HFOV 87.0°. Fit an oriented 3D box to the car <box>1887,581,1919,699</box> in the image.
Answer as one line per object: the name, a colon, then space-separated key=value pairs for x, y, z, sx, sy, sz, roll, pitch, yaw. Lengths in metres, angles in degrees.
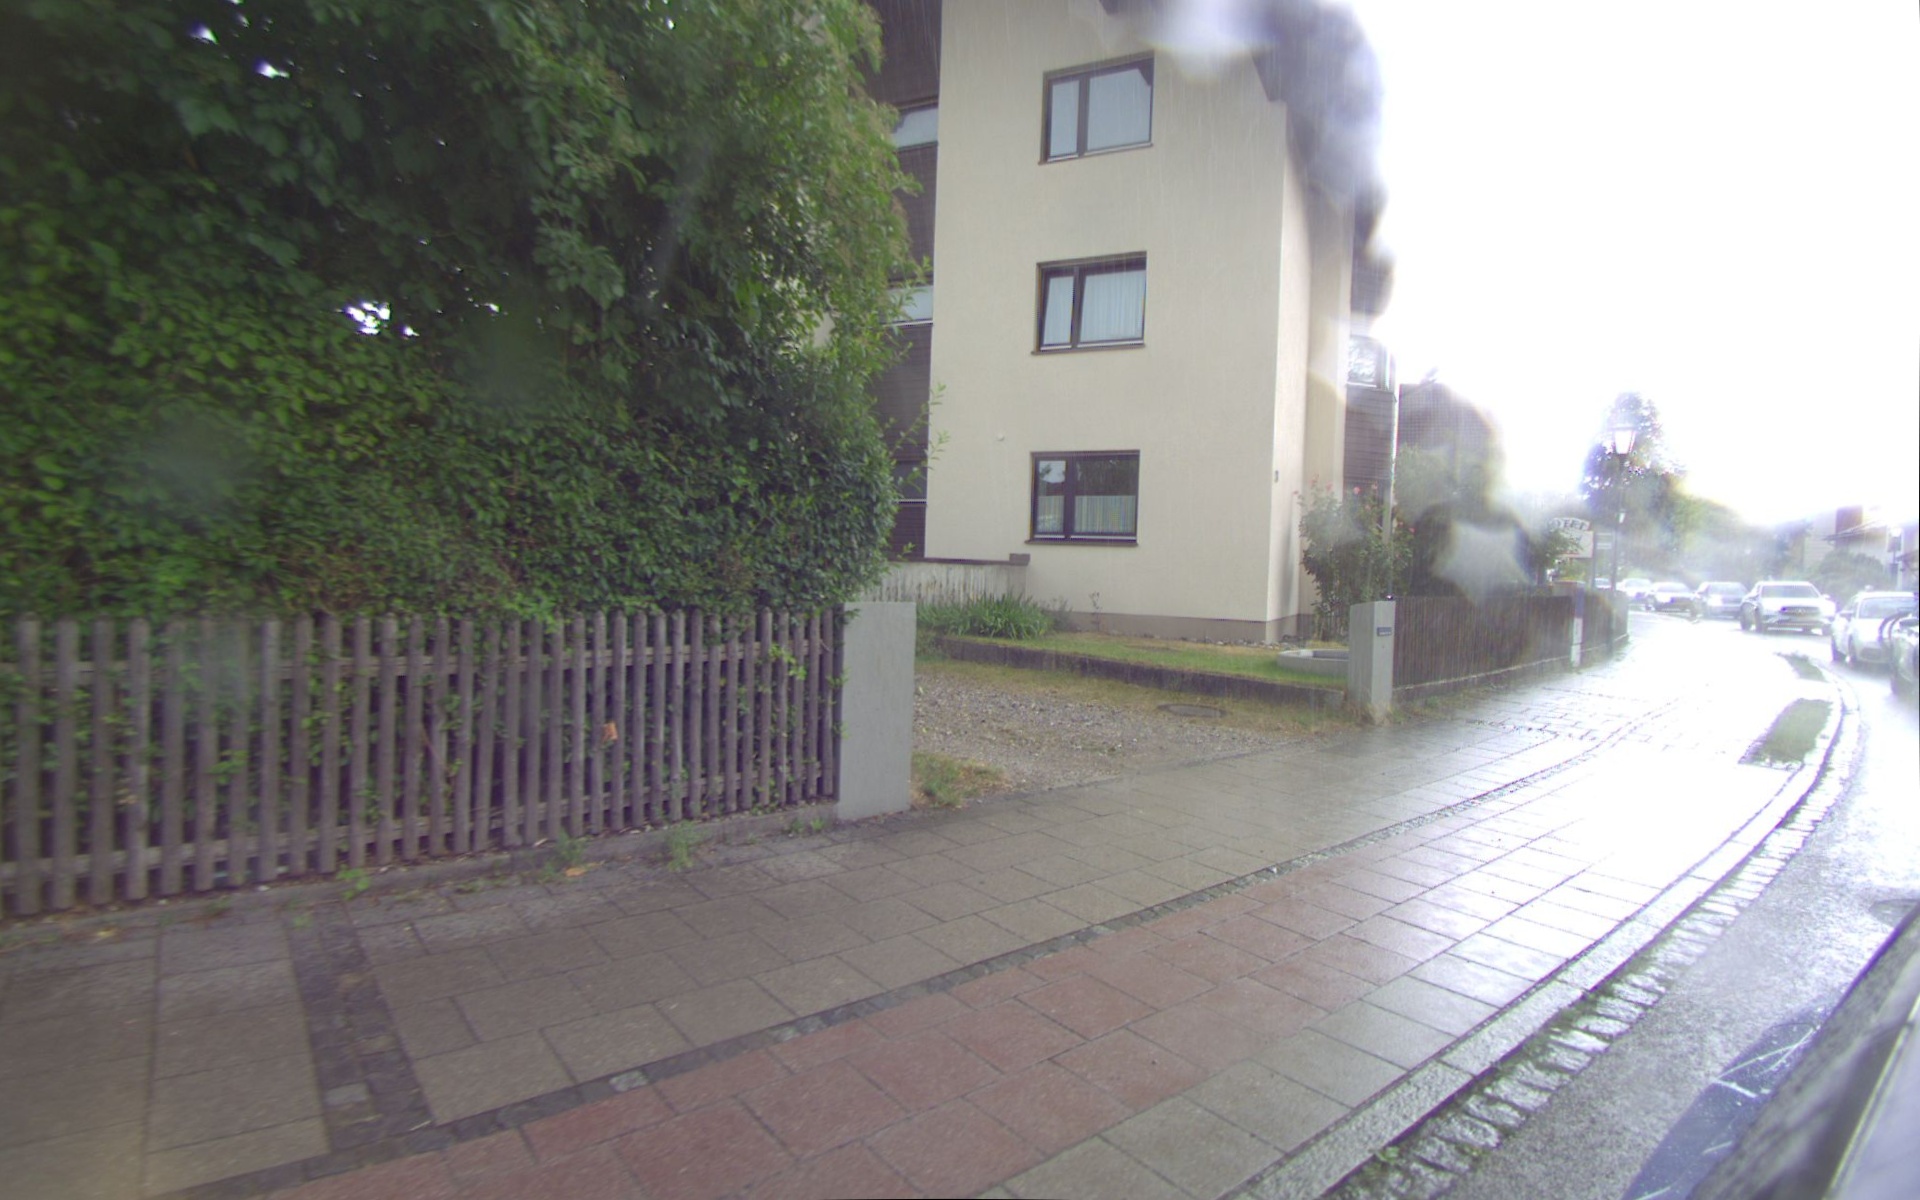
car: x=14.015 y=0.490 z=13.707 sx=1.786 sy=1.498 sz=5.310 roll=0 pitch=1 yaw=39

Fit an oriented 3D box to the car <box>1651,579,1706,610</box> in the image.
car: x=37.856 y=-0.303 z=53.402 sx=1.778 sy=1.568 sz=4.240 roll=0 pitch=0 yaw=27

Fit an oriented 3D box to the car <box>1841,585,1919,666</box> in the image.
car: x=18.164 y=0.432 z=19.359 sx=1.786 sy=1.412 sz=4.221 roll=0 pitch=1 yaw=39

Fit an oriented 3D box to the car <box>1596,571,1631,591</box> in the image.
car: x=53.618 y=-1.547 z=83.076 sx=1.775 sy=1.568 sz=4.246 roll=0 pitch=0 yaw=24

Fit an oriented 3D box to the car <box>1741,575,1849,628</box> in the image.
car: x=26.493 y=0.008 z=32.271 sx=1.778 sy=1.568 sz=4.240 roll=0 pitch=0 yaw=27

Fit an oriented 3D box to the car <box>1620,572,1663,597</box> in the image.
car: x=43.228 y=-0.979 z=64.276 sx=1.778 sy=1.568 sz=4.240 roll=0 pitch=0 yaw=27

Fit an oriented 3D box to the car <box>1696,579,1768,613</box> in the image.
car: x=33.579 y=-0.186 z=44.118 sx=1.778 sy=1.391 sz=4.240 roll=0 pitch=1 yaw=27

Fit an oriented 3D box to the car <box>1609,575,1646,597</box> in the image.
car: x=48.258 y=-1.014 z=73.180 sx=1.778 sy=1.568 sz=4.240 roll=0 pitch=0 yaw=27
